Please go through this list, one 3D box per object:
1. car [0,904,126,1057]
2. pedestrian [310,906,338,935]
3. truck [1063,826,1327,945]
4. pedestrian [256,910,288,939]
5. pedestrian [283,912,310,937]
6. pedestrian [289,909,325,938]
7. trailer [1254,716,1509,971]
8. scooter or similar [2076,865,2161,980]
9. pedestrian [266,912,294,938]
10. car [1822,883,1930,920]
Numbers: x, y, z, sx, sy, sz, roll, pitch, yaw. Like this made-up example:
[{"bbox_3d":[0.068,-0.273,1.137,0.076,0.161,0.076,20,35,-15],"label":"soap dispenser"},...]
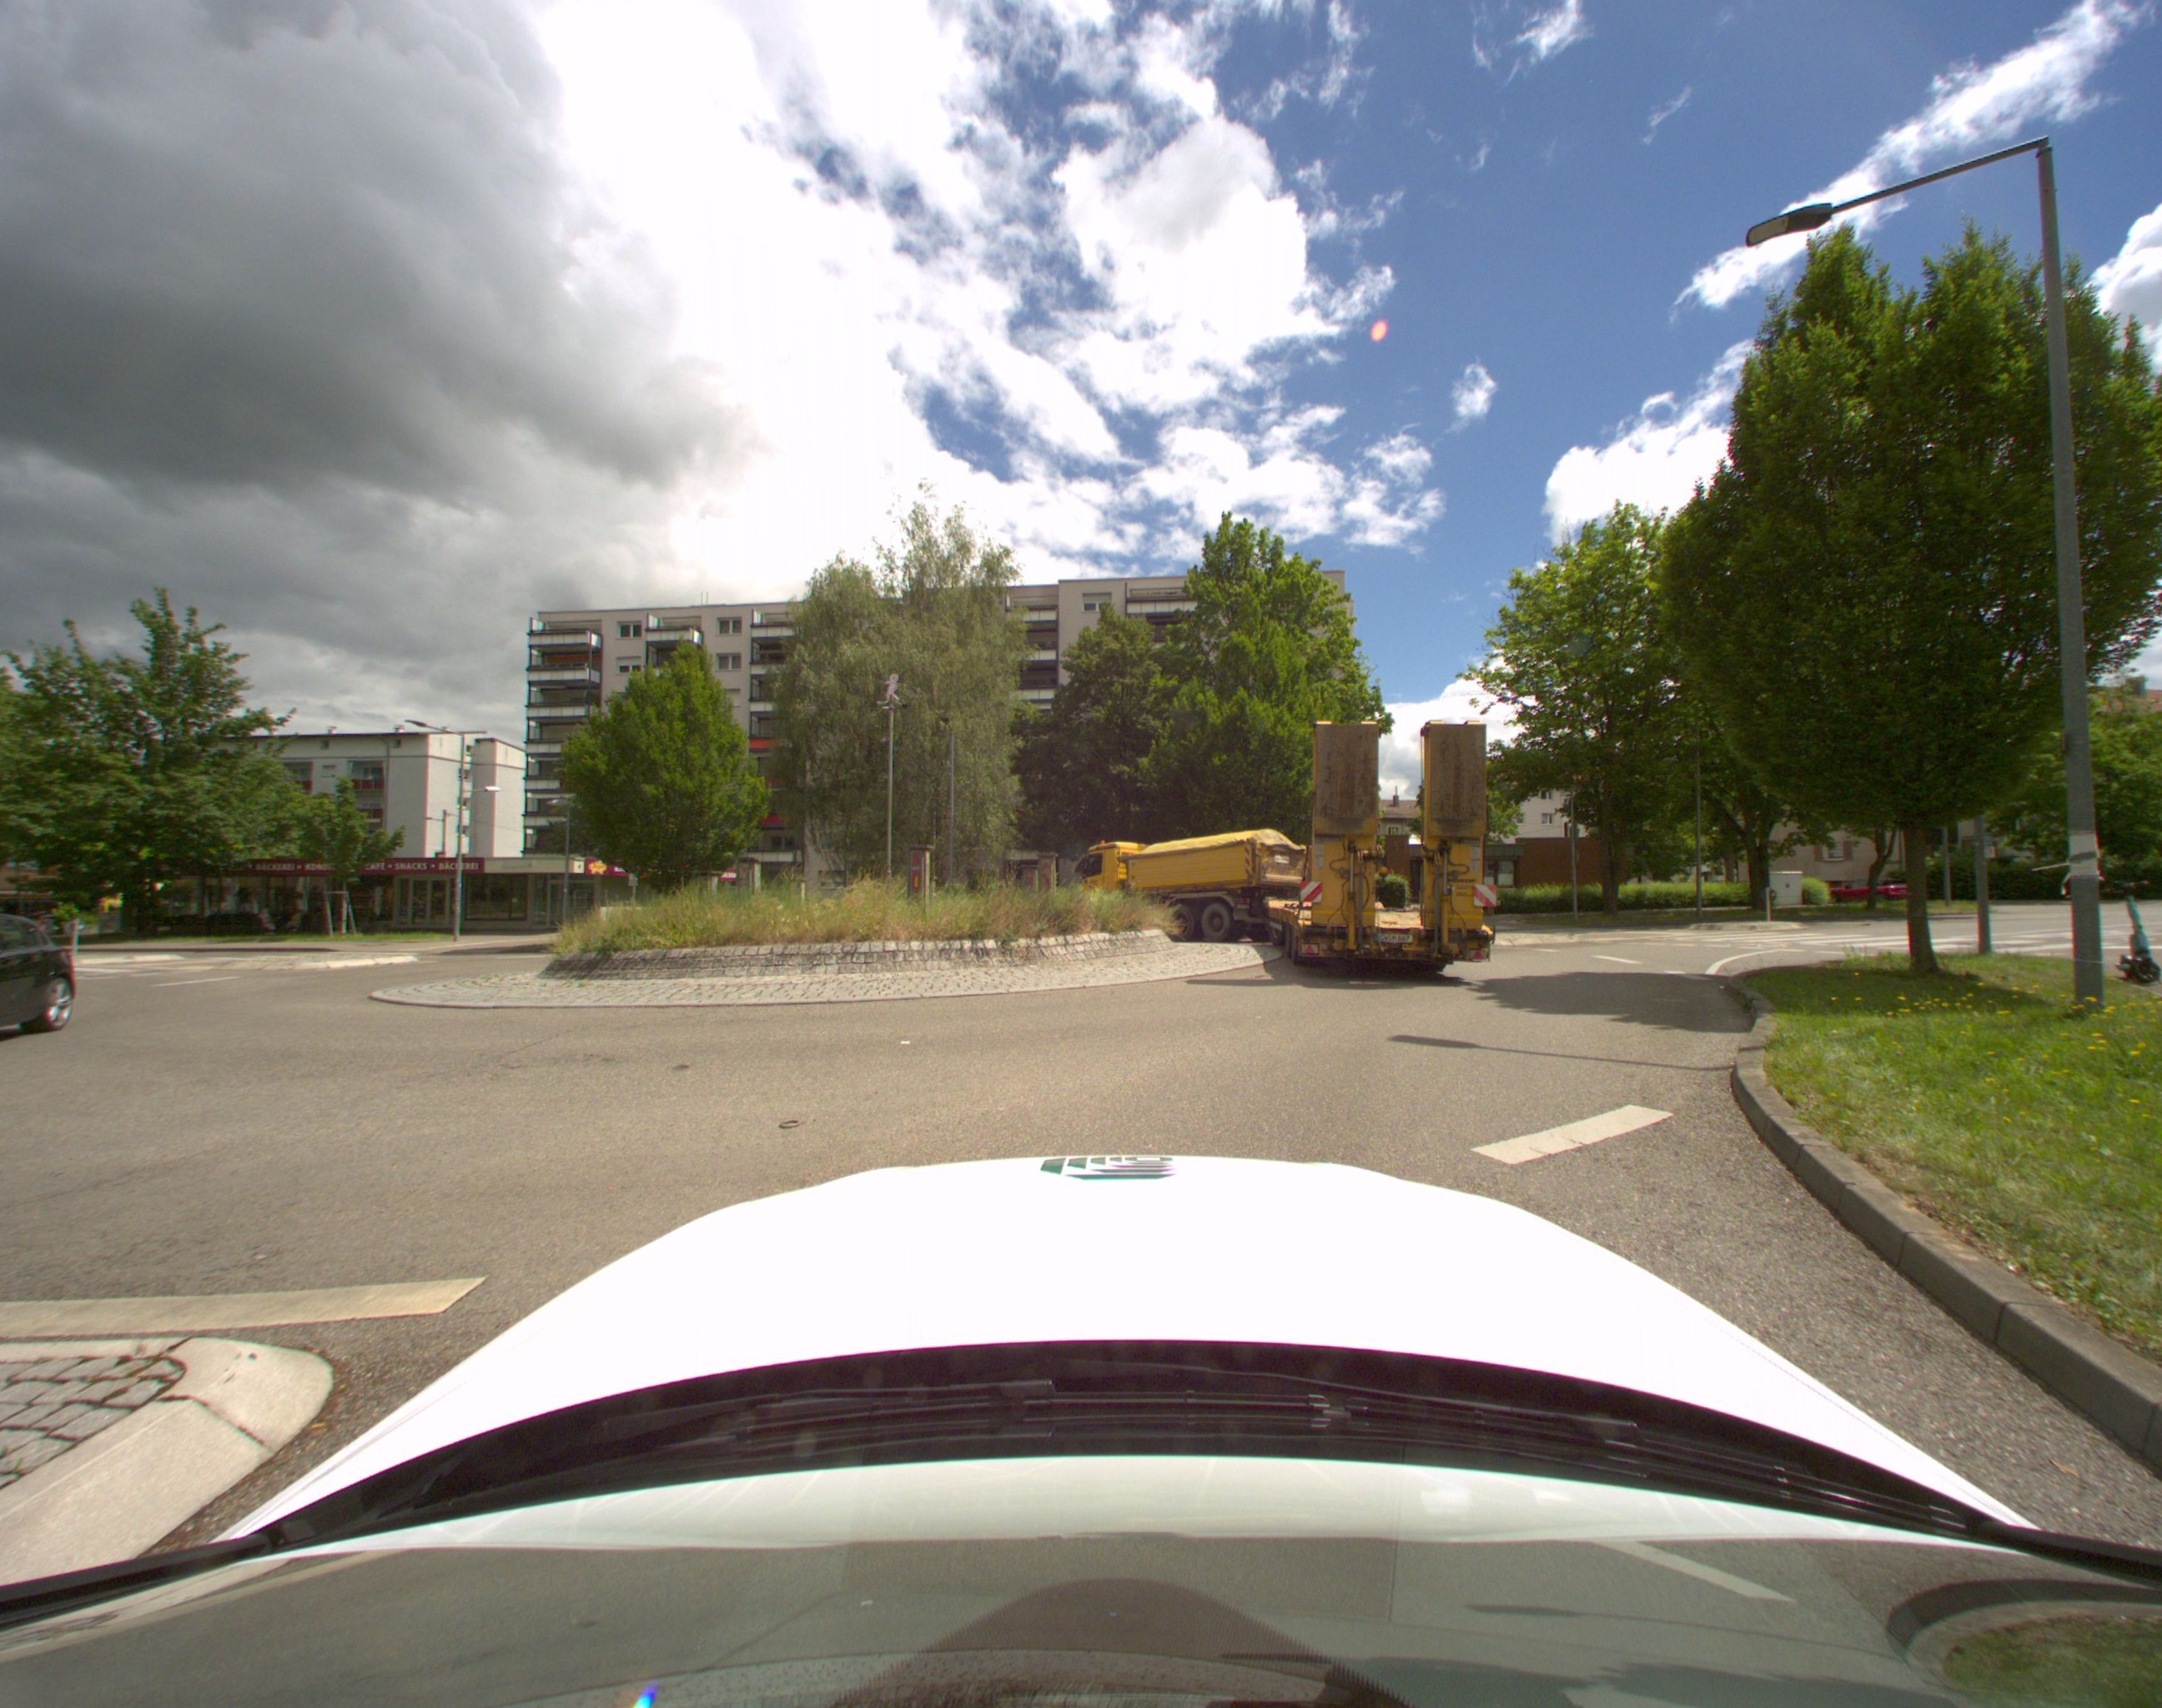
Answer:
[{"bbox_3d":[-11.959,1.298,8.181,1.866,1.455,4.342,2,-2,-33],"label":"car"},{"bbox_3d":[-37.566,3.290,40.426,0.692,1.381,0.722,-2,-2,12],"label":"pedestrian"},{"bbox_3d":[3.100,0.979,25.124,3.011,3.035,8.390,1,-3,-37],"label":"truck"},{"bbox_3d":[-38.617,3.372,38.883,0.604,1.325,0.883,-2,-2,14],"label":"pedestrian"},{"bbox_3d":[-38.901,3.483,40.385,0.691,1.201,0.723,-2,-3,19],"label":"pedestrian"},{"bbox_3d":[-37.608,3.357,39.563,0.816,1.325,0.881,1,-2,6],"label":"pedestrian"},{"bbox_3d":[5.141,0.123,16.329,2.846,3.373,10.867,0,-3,10],"label":"trailer"},{"bbox_3d":[13.197,0.829,10.348,0.480,1.343,1.396,-4,-3,44],"label":"scooter or similar"},{"bbox_3d":[-39.197,3.460,39.837,0.691,1.201,0.723,-2,-3,19],"label":"pedestrian"},{"bbox_3d":[45.019,2.659,46.247,2.011,1.942,3.987,1,-2,-9],"label":"car"}]
